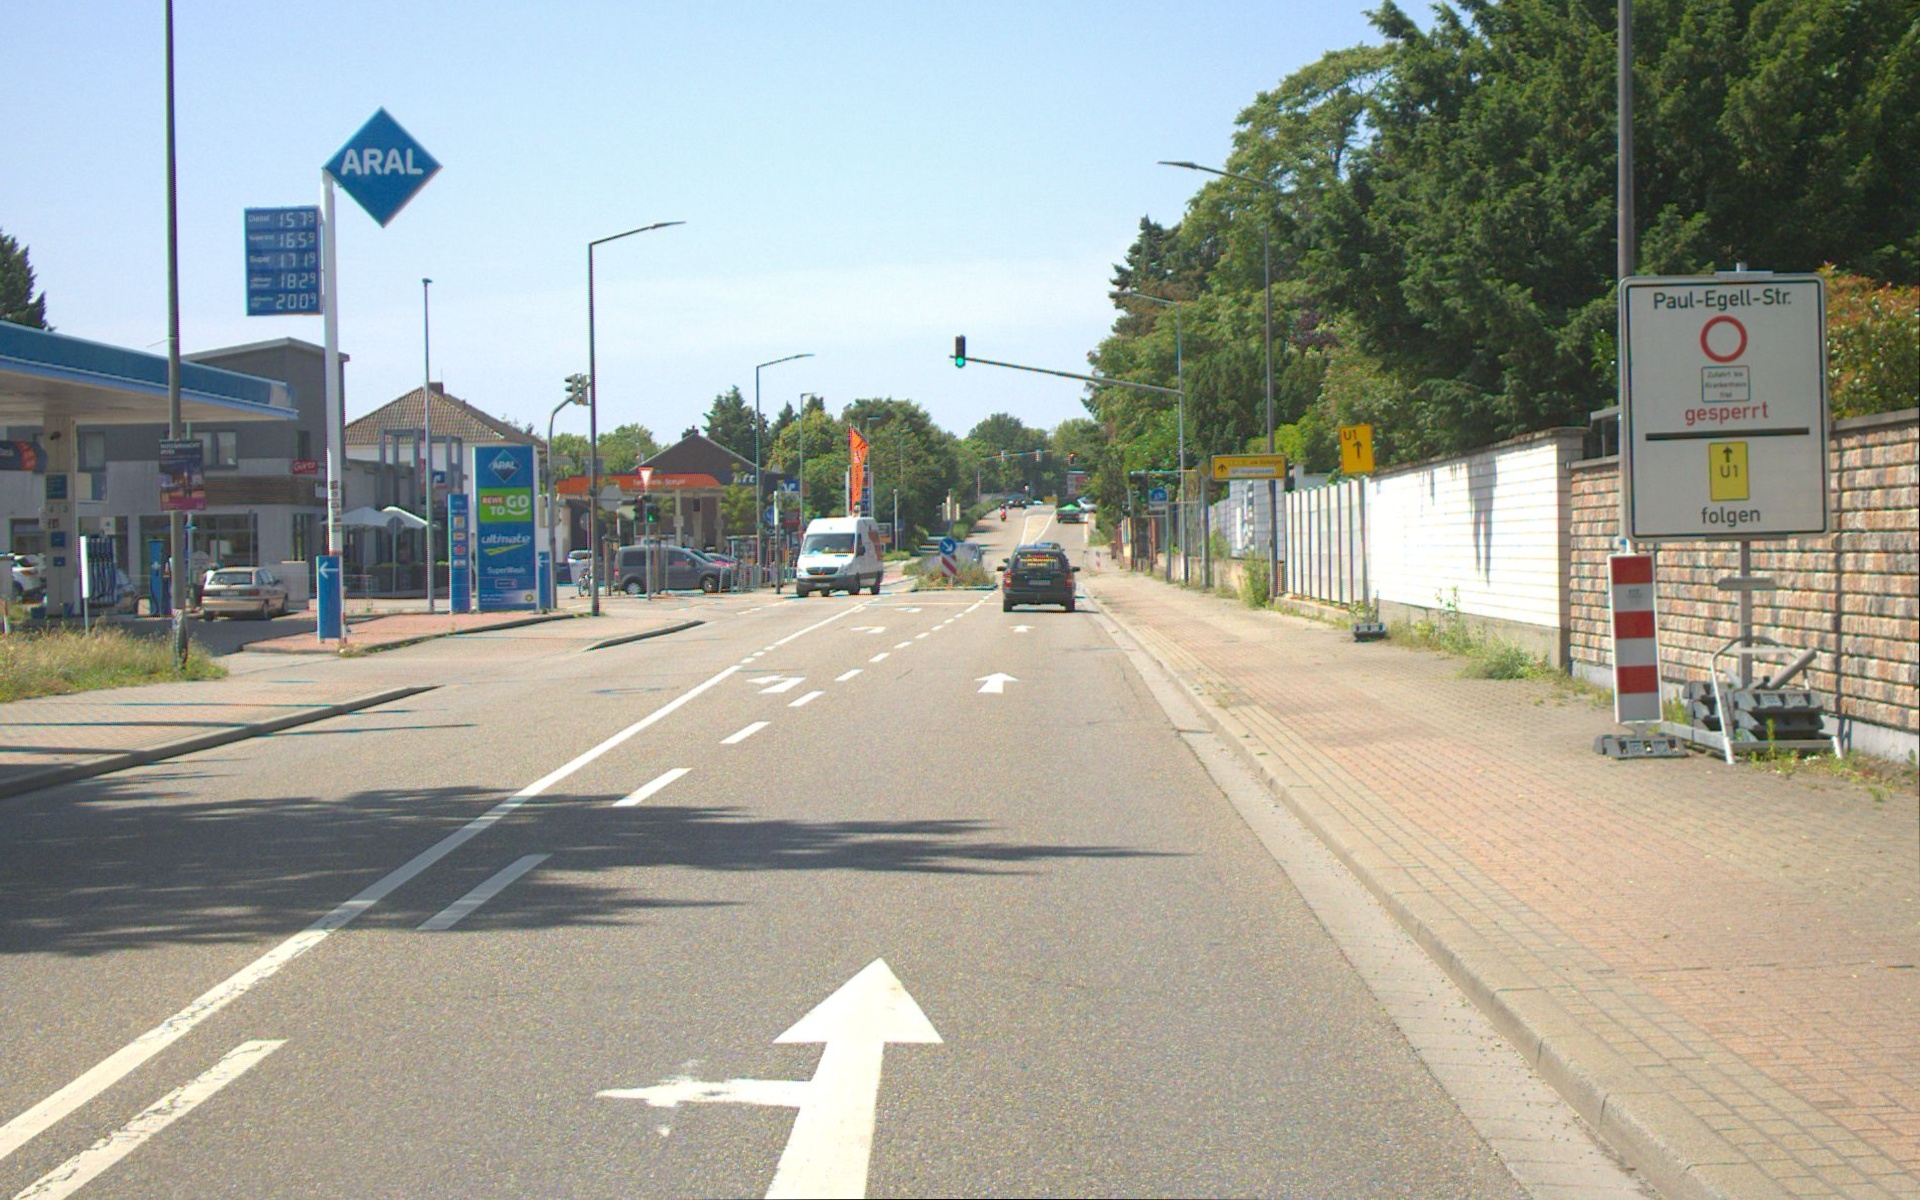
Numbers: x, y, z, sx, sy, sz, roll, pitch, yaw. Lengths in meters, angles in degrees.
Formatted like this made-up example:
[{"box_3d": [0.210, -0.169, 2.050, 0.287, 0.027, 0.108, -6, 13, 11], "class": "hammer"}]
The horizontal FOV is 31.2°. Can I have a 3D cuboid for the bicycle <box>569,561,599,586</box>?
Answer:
[{"box_3d": [-12.381, -0.868, 113.244, 0.612, 0.790, 2.575, -1, 1, 1], "class": "bicycle"}]

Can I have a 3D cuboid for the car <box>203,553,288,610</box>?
[{"box_3d": [-19.021, -0.510, 91.653, 1.617, 1.415, 3.712, -2, 1, -3], "class": "car"}]

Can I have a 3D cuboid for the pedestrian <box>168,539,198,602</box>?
[{"box_3d": [-20.899, -0.795, 92.458, 0.610, 1.685, 0.709, -1, 1, -24], "class": "pedestrian"}]

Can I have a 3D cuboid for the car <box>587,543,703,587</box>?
[{"box_3d": [-11.172, -1.239, 122.053, 3.986, 1.503, 1.555, -1, 1, -2], "class": "car"}]

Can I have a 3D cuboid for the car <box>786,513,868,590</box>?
[{"box_3d": [-4.397, -1.588, 114.465, 1.994, 2.414, 5.946, 1, 0, 5], "class": "car"}]

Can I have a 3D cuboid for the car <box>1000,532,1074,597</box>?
[{"box_3d": [1.776, -0.828, 79.659, 1.665, 1.450, 3.472, -1, 1, 1], "class": "car"}]
